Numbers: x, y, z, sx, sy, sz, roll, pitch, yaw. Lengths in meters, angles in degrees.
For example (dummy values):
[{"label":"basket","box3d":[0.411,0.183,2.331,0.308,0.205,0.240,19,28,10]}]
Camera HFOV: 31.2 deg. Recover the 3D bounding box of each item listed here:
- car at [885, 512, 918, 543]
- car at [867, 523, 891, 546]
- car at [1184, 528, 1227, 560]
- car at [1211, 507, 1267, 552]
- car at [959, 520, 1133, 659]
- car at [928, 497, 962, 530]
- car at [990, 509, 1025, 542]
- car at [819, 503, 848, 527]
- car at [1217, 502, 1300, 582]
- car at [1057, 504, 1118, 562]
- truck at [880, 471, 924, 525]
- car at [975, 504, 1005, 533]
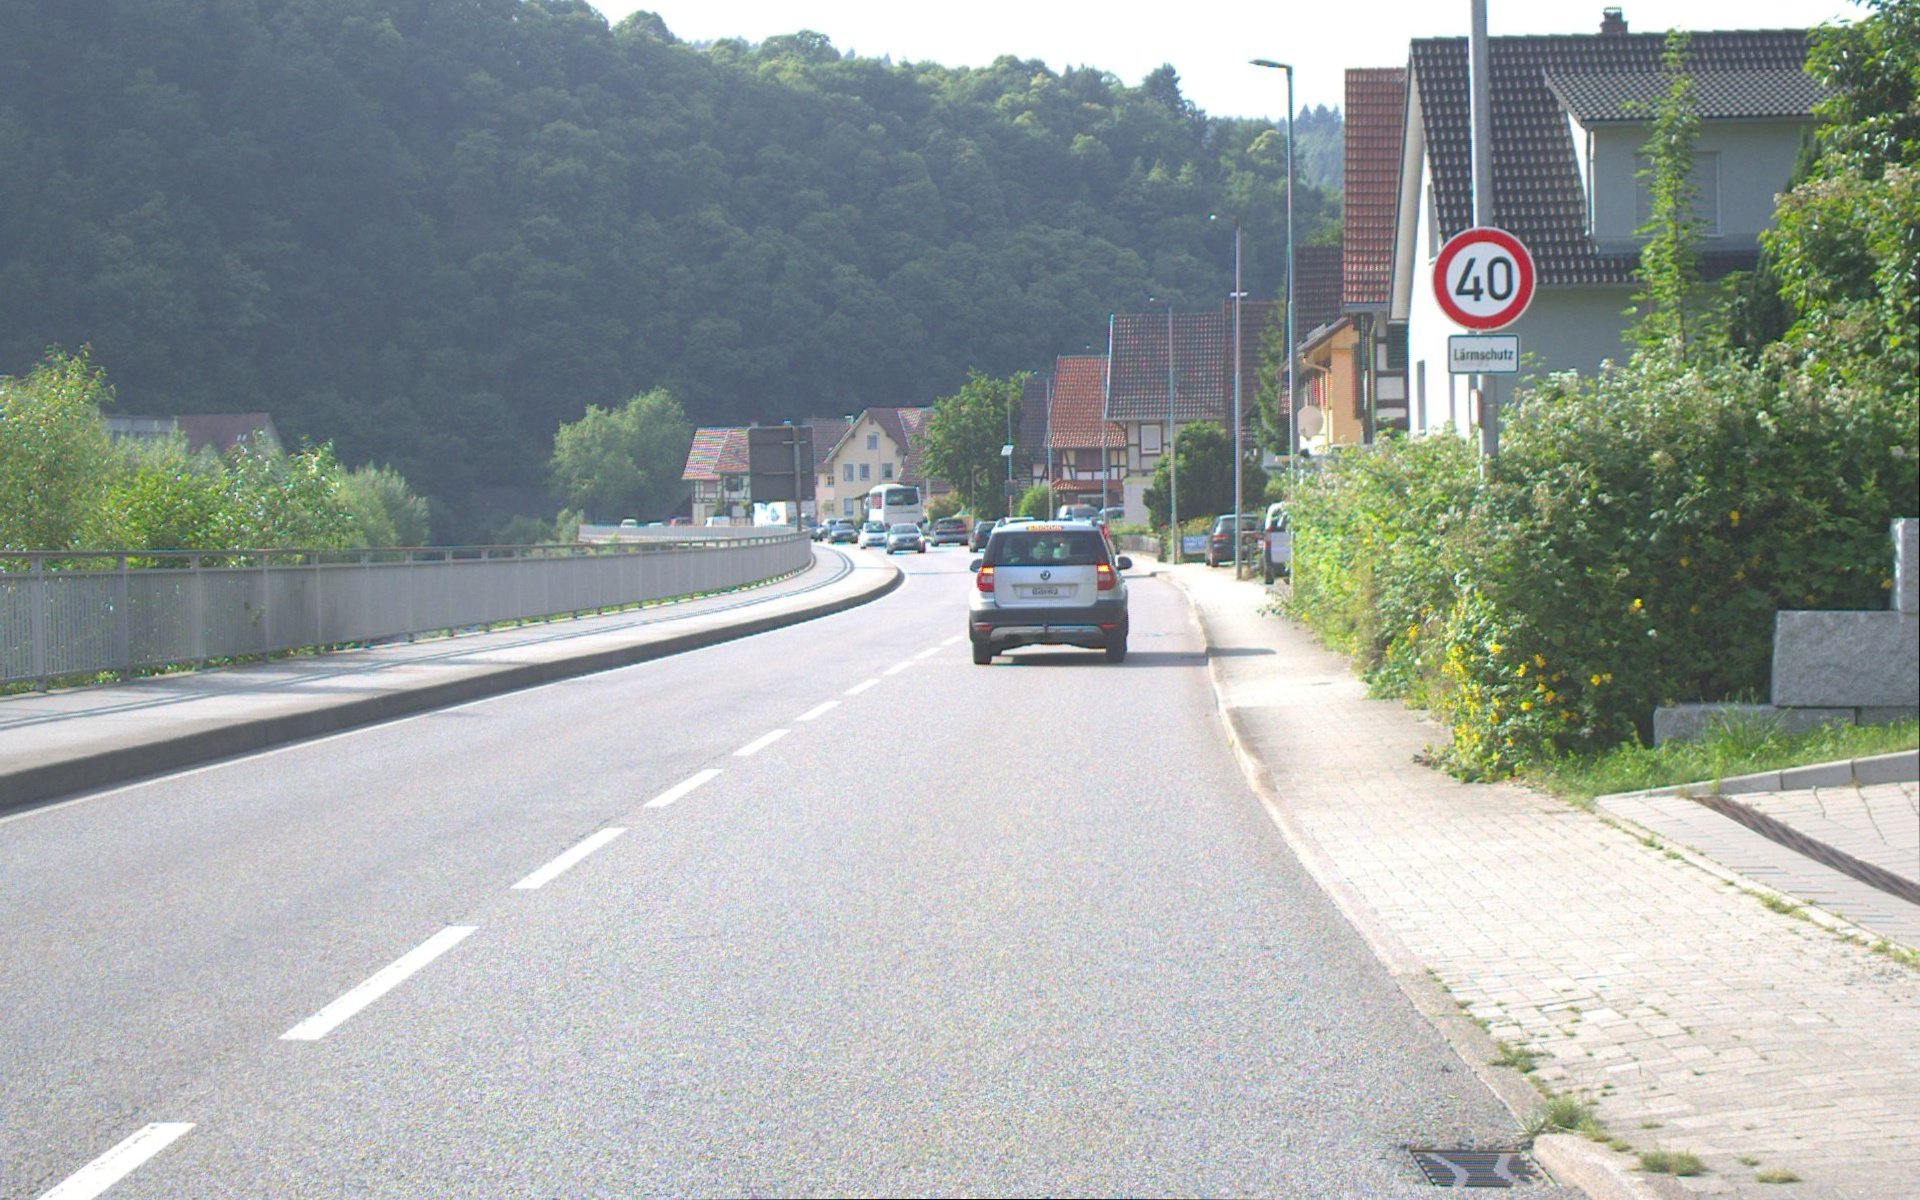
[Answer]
[{"label":"car","box3d":[-2.797,-3.466,164.112,1.433,1.379,3.135,-1,2,-3]},{"label":"car","box3d":[-4.587,-3.715,194.925,1.364,1.273,3.083,-1,0,-1]},{"label":"car","box3d":[7.574,-1.719,105.893,1.296,0.971,2.921,-1,0,4]},{"label":"car","box3d":[7.971,-2.004,98.048,1.545,1.212,3.277,-1,0,5]},{"label":"car","box3d":[1.070,-0.157,40.750,1.861,1.539,4.373,-1,1,4]},{"label":"car","box3d":[-0.794,-4.789,189.616,1.674,1.746,3.448,-1,2,3]},{"label":"car","box3d":[1.926,-3.026,140.147,1.364,1.273,3.083,-1,0,0]},{"label":"car","box3d":[-8.475,-5.672,229.765,1.748,1.539,4.001,-1,2,-5]},{"label":"car","box3d":[6.394,-1.224,73.429,1.610,1.640,3.650,-1,0,7]},{"label":"car","box3d":[3.468,-1.814,93.778,1.622,1.536,3.278,-1,0,2]},{"label":"truck","box3d":[-3.719,-6.601,221.400,2.729,3.363,6.479,-1,2,-1]},{"label":"car","box3d":[1.397,-3.799,160.460,1.364,1.273,3.083,-1,0,0]}]
